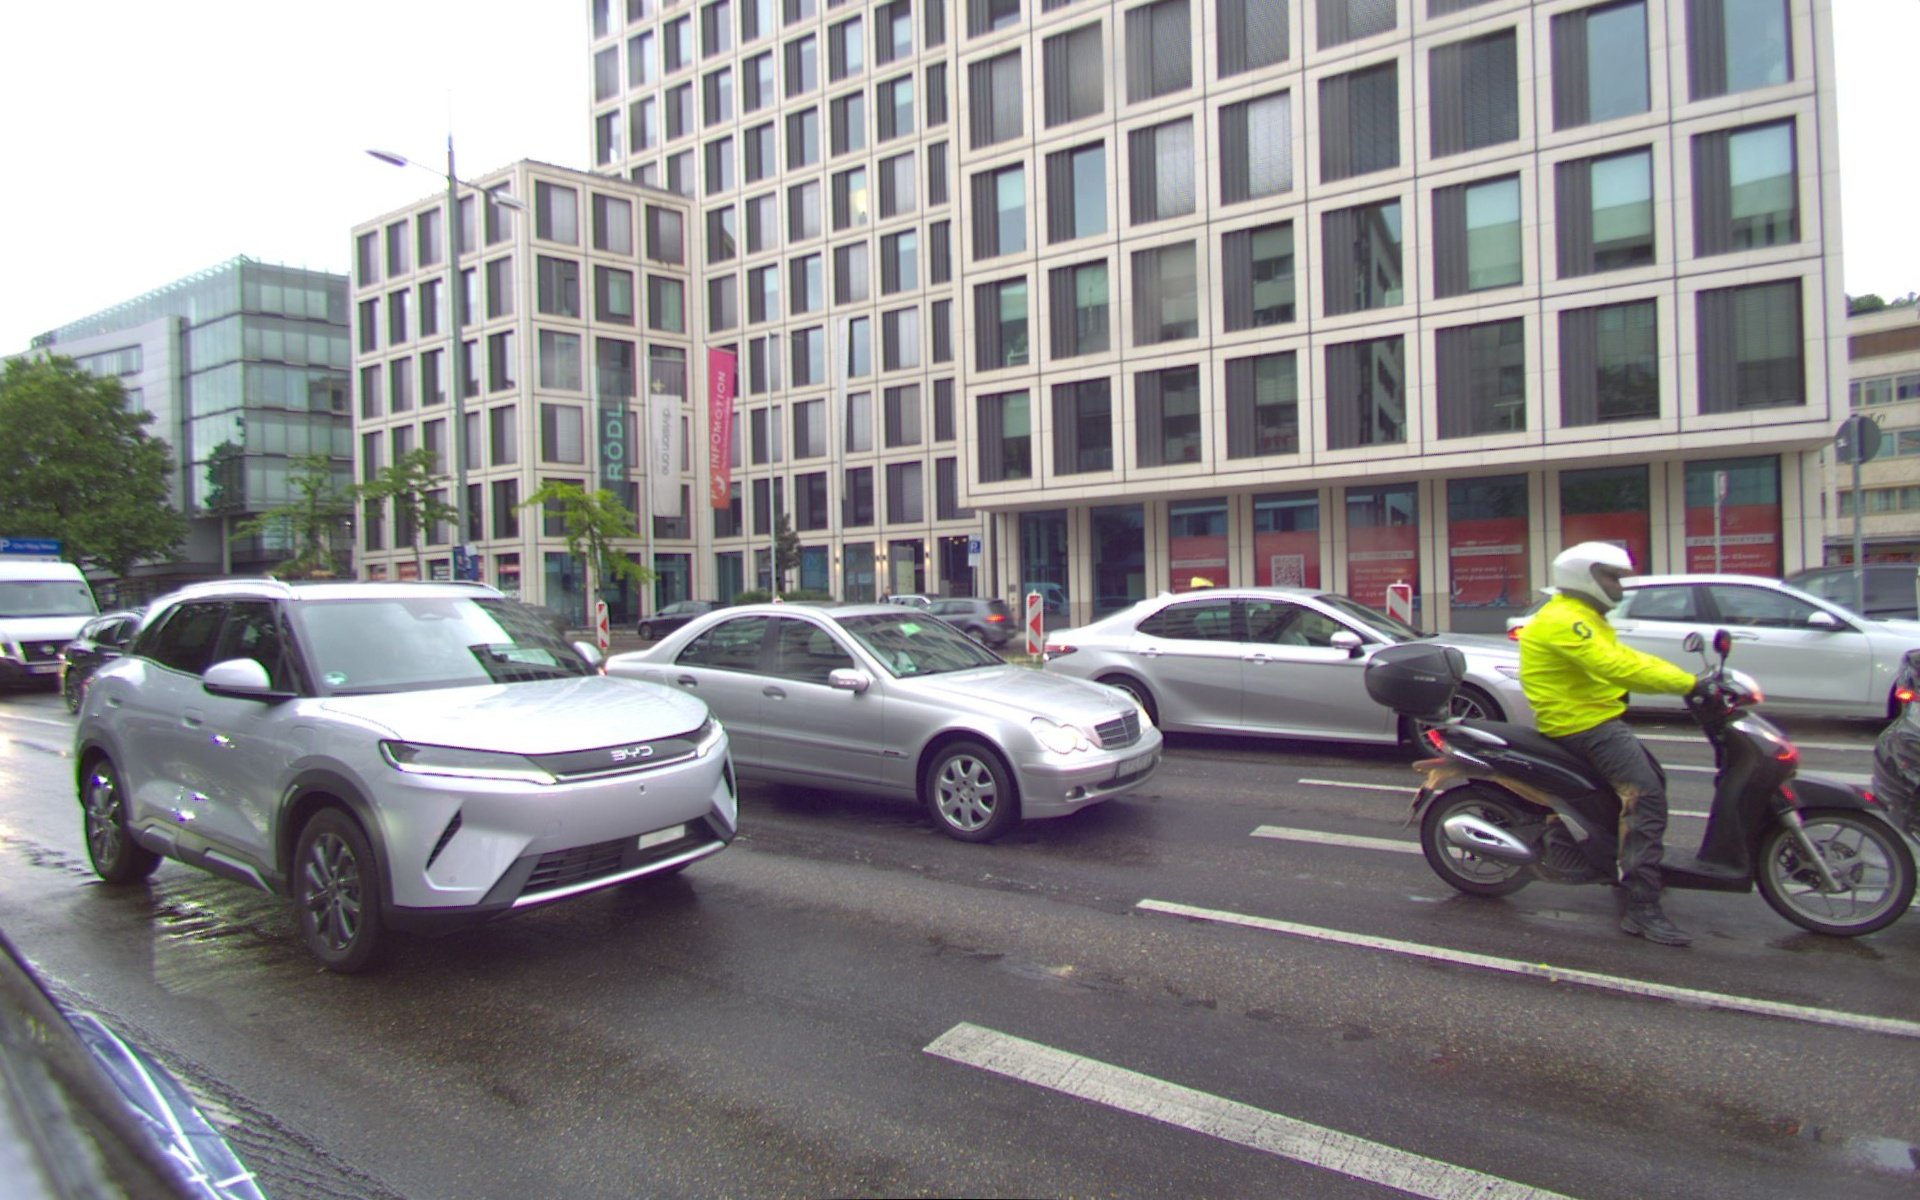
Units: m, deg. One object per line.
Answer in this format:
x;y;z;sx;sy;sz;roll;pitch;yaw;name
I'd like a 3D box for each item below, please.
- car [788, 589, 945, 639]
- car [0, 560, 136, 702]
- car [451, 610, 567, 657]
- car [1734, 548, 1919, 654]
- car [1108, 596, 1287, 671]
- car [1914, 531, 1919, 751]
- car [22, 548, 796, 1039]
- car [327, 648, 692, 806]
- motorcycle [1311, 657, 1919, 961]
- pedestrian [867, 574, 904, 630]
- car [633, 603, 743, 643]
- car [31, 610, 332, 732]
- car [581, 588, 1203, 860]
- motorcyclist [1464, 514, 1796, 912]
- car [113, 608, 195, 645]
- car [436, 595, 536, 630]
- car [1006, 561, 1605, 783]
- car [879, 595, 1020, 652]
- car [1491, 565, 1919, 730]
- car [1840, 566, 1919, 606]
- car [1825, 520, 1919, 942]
-3.143;0.491;33.558;5.160;1.581;1.687;-1;-1;29;car
-18.153;0.524;19.396;5.708;2.403;2.234;0;1;36;car
-15.597;1.152;35.007;3.857;1.530;1.687;-1;-1;29;car
13.709;0.021;14.311;4.121;1.435;1.687;-1;-1;28;car
5.248;0.727;22.370;3.538;1.530;1.687;-1;-1;28;car
8.407;0.312;5.794;3.986;1.628;1.720;-1;1;32;car
-3.042;0.651;5.333;4.158;1.673;1.794;-1;1;33;car
-5.445;1.400;12.204;4.103;1.490;1.761;-1;1;25;car
2.837;0.797;4.485;2.285;0.997;0.935;-1;1;30;motorcycle
-2.355;0.048;31.984;0.962;1.747;0.608;-1;1;28;pedestrian
-10.208;0.880;37.945;3.937;1.435;1.687;-1;-1;28;car
-10.945;0.892;14.189;4.225;1.412;1.886;-1;1;30;car
-0.652;0.667;7.333;4.372;1.414;1.718;0;1;34;car
2.864;0.415;4.457;1.096;1.486;0.935;-1;1;30;motorcyclist
-47.473;1.522;59.572;4.892;2.029;1.981;-1;1;28;car
-20.533;0.549;43.838;4.354;1.435;1.687;-1;-1;29;car
2.925;0.488;9.099;4.790;1.532;1.815;0;1;35;car
-0.293;0.680;28.837;3.668;1.530;1.688;-1;-1;26;car
7.528;0.389;9.941;3.980;1.383;1.770;-1;1;32;car
41.838;-0.661;44.940;1.976;1.661;4.442;-1;1;7;car
5.974;0.434;3.004;4.991;1.526;1.871;0;1;35;car
